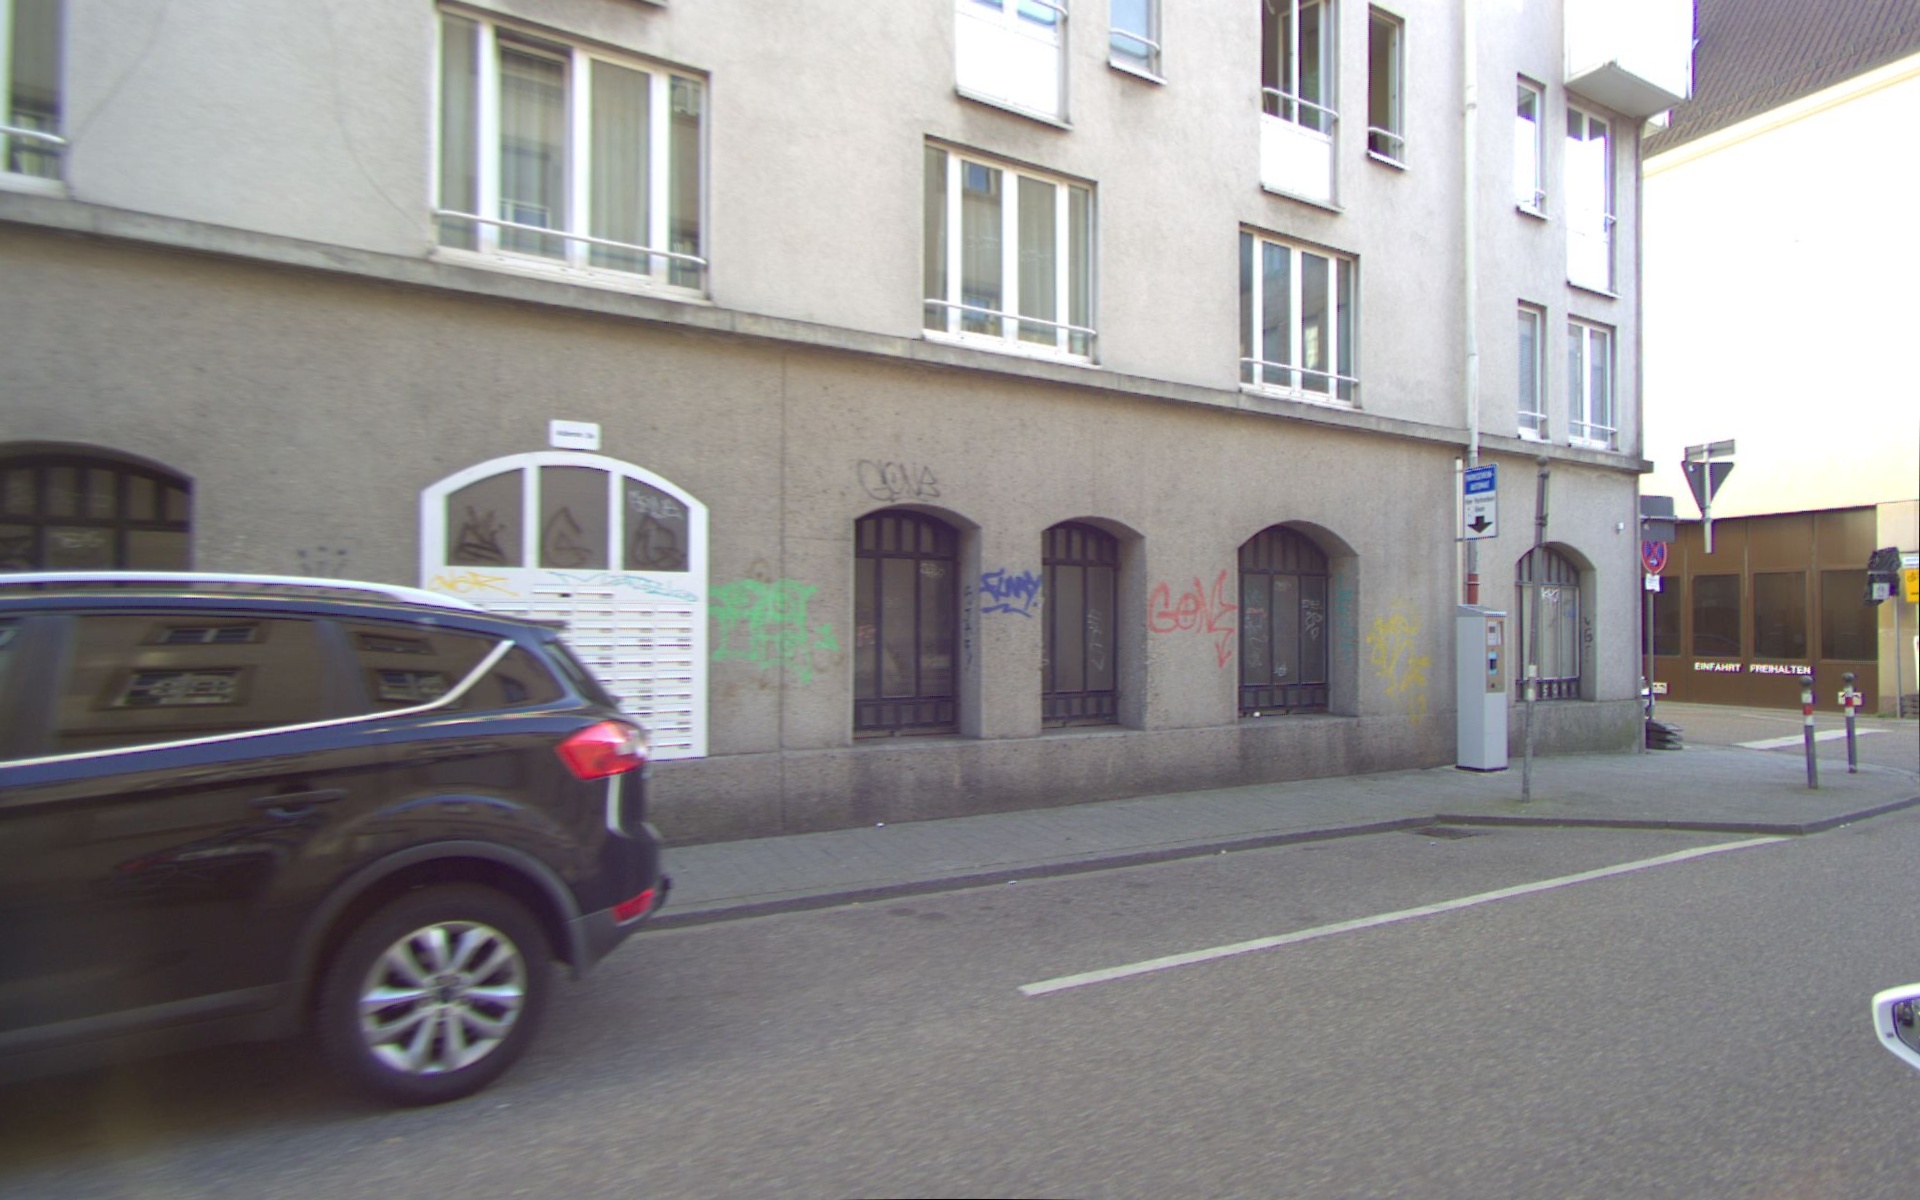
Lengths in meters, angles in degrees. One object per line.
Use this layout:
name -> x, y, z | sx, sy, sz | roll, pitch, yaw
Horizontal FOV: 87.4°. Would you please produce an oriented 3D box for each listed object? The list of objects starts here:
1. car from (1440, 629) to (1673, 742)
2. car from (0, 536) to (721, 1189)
car -> 9.881, 1.356, 17.040 | 1.728, 1.677, 4.002 | 0, -2, 3
car -> -3.091, 0.751, 3.394 | 4.140, 1.733, 1.733 | 1, -4, -30
